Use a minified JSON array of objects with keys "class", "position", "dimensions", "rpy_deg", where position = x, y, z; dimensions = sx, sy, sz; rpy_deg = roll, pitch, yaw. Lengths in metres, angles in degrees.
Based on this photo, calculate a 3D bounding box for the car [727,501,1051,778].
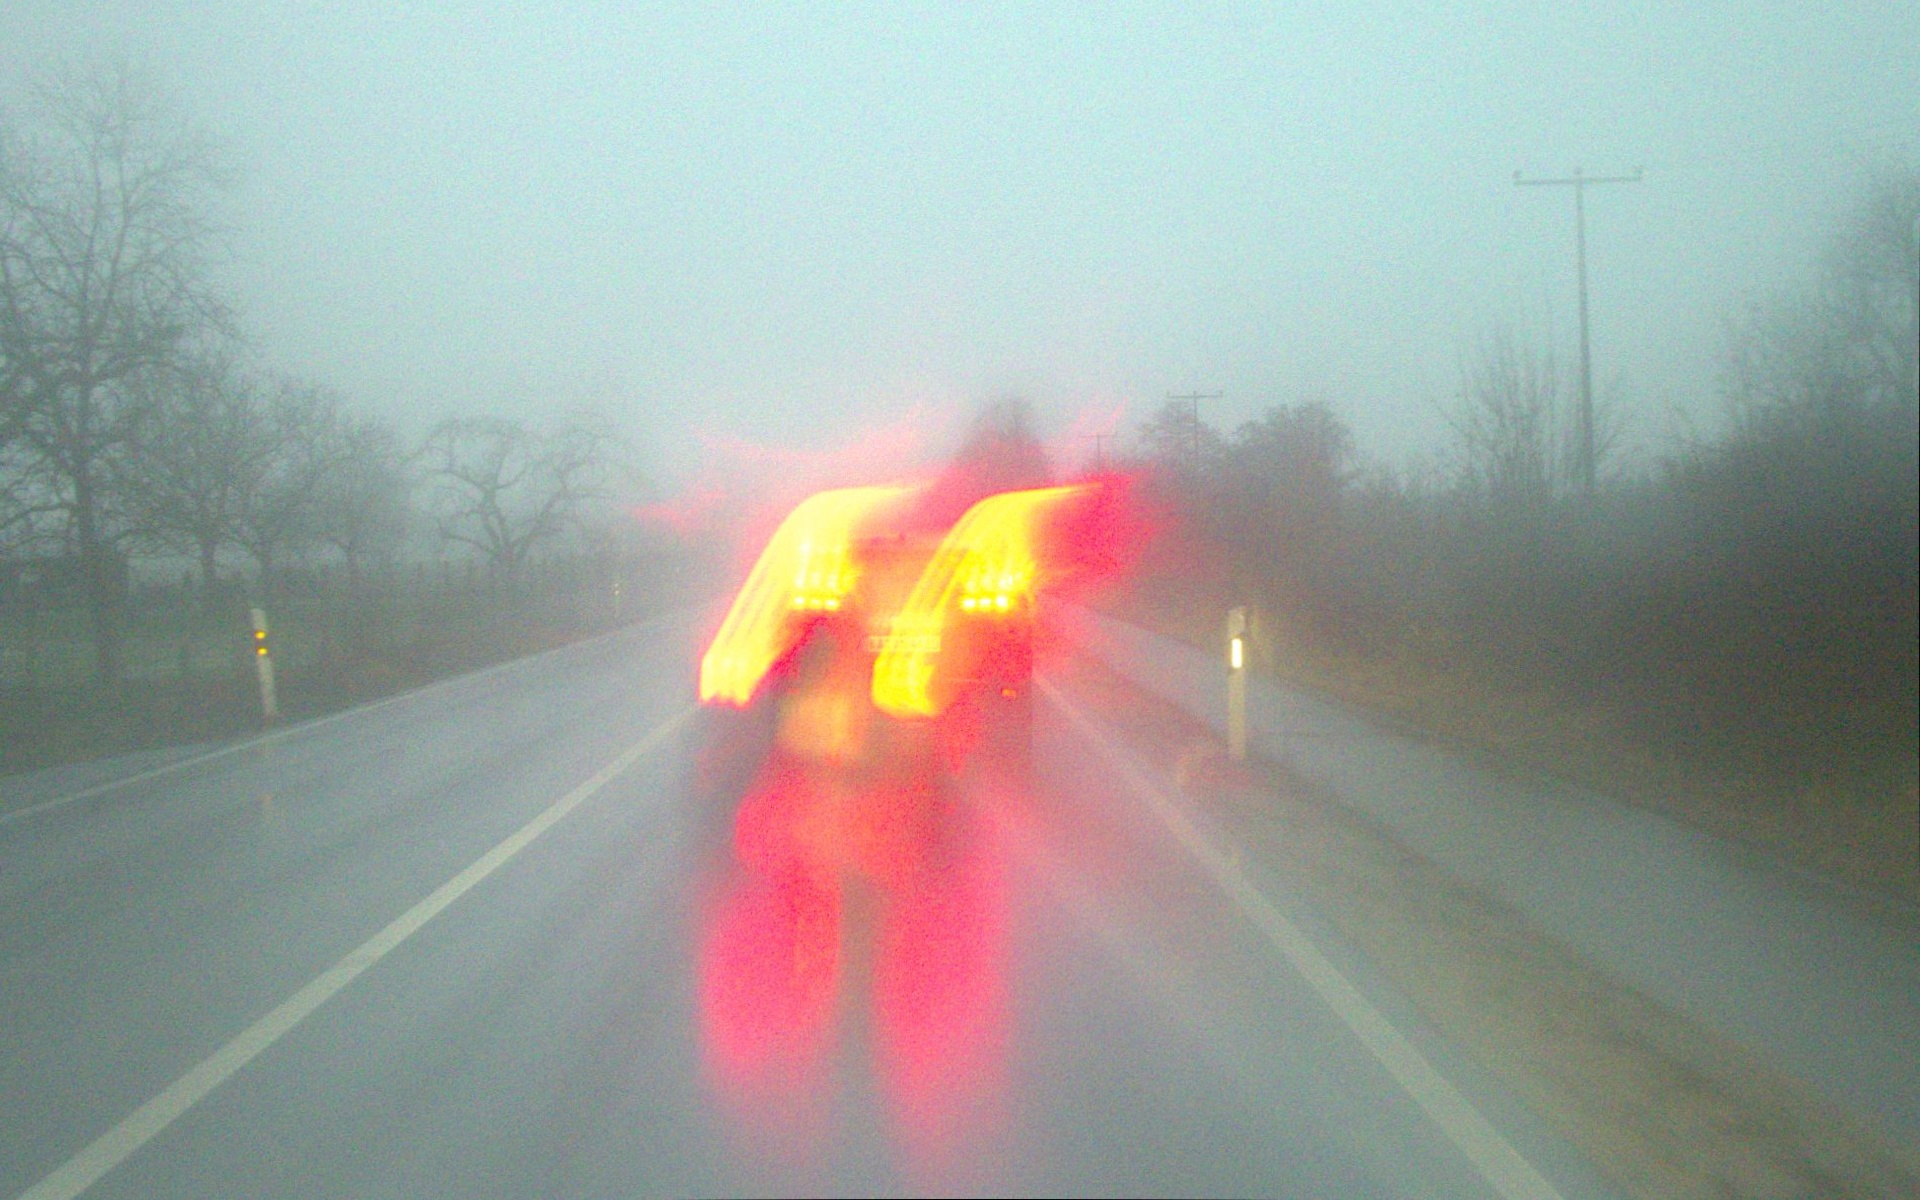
[{"class":"car","position":[-0.500,0.211,25.020],"dimensions":[2.120,1.813,4.980],"rpy_deg":[0,1,-1]}]
